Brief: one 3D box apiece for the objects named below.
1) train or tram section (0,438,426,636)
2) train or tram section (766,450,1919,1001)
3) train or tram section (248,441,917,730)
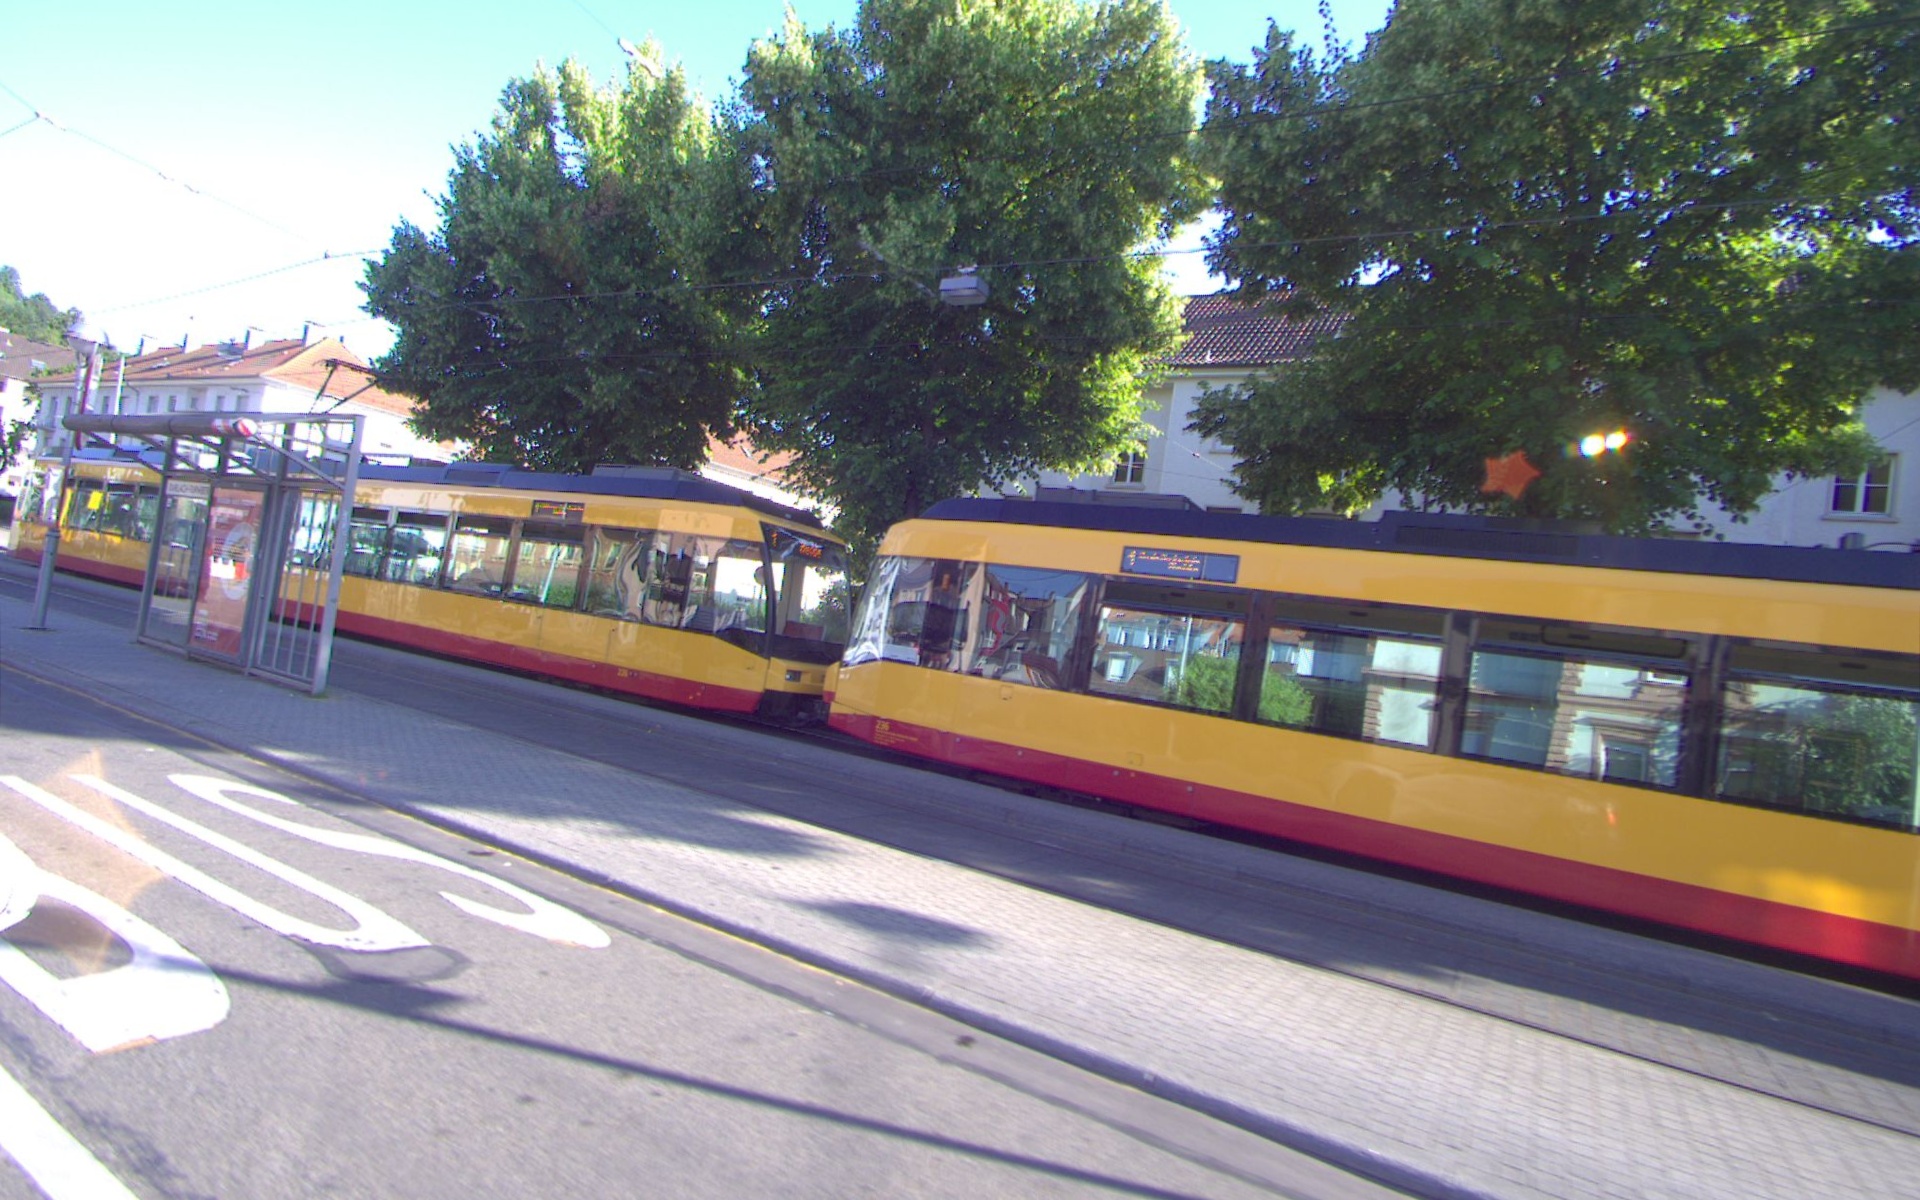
[{"bbox_3d":[-19.282,-1.830,24.750,15.705,3.575,2.963,6,-2,31],"label":"train or tram section"},{"bbox_3d":[5.311,0.896,9.508,15.670,3.462,2.964,7,-1,30],"label":"train or tram section"},{"bbox_3d":[-7.217,-0.582,17.325,13.240,3.575,2.963,6,-2,31],"label":"train or tram section"}]
